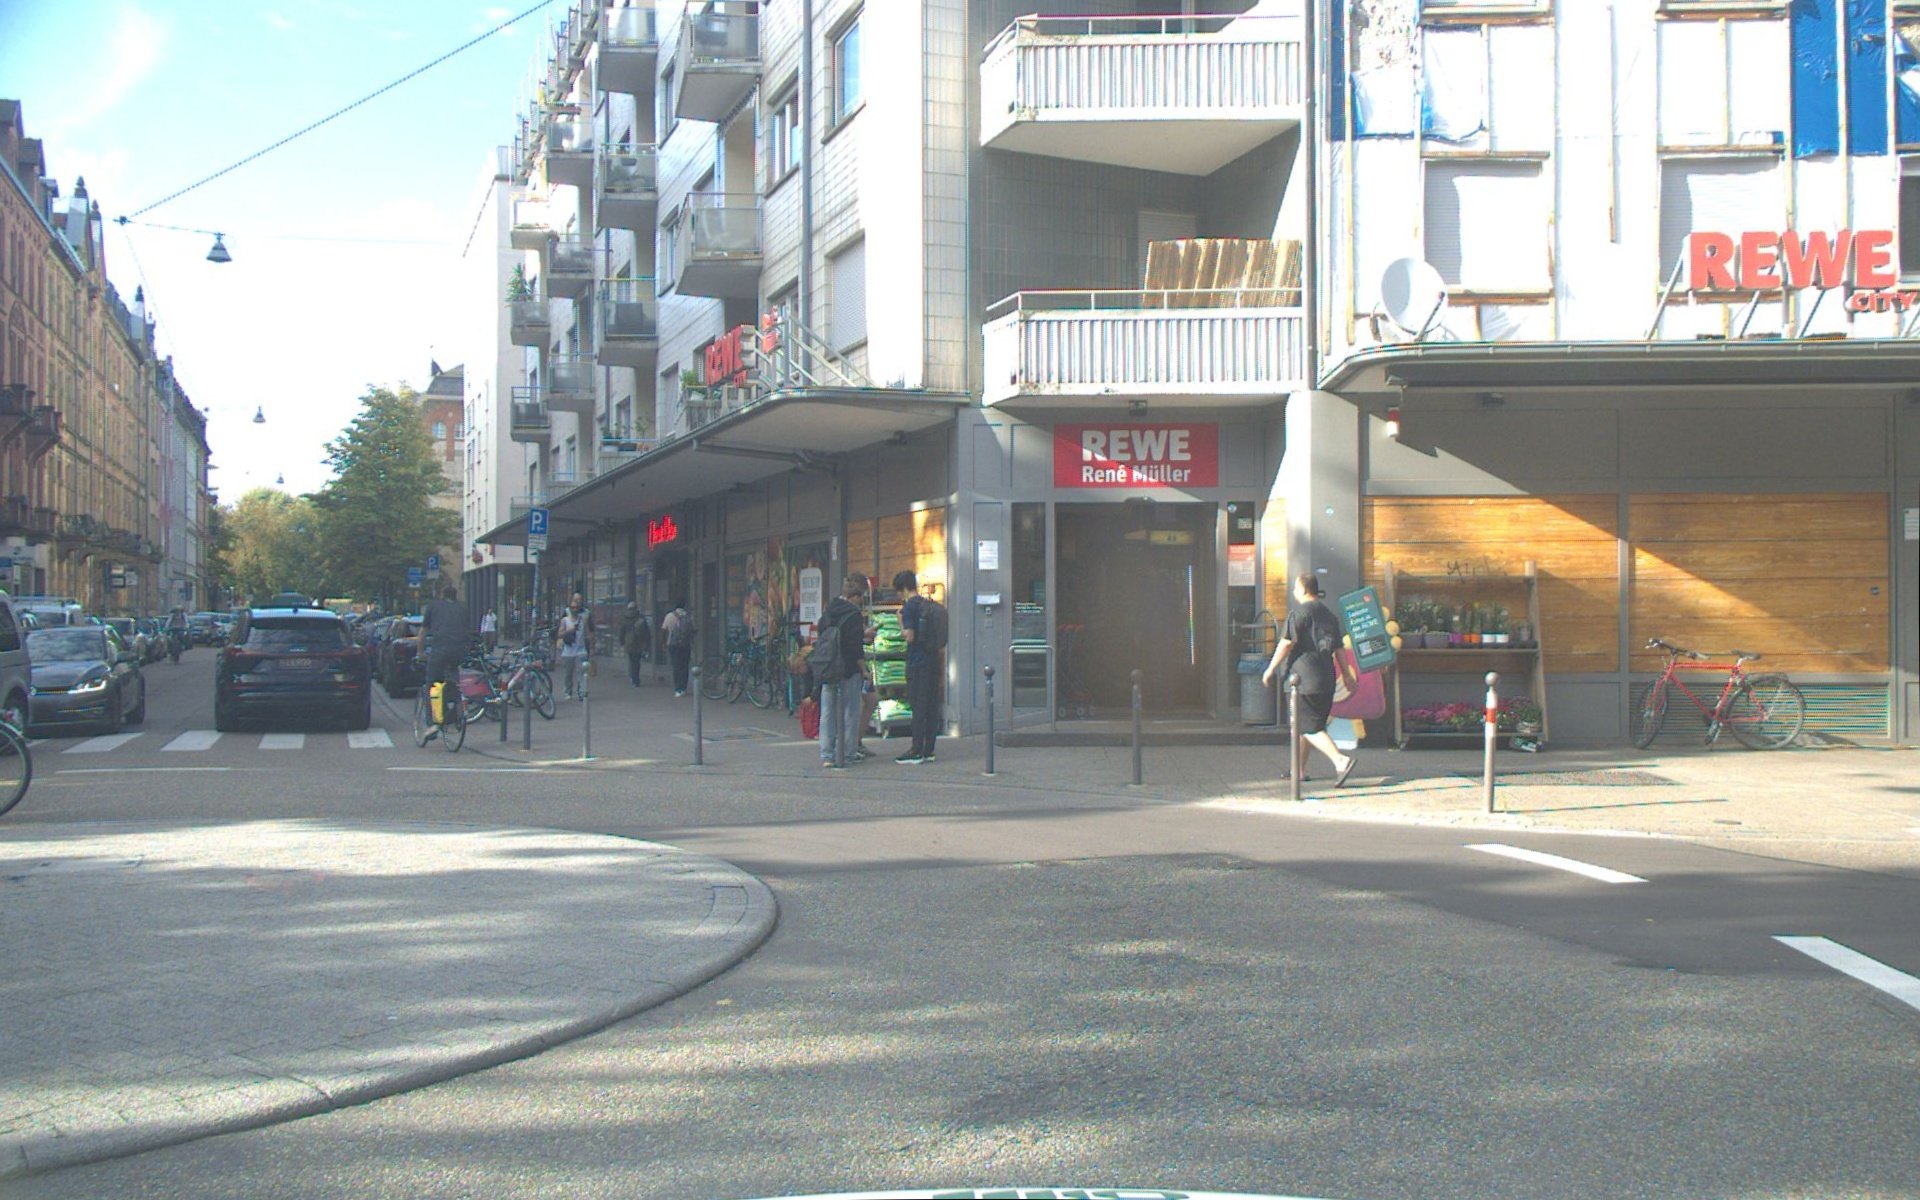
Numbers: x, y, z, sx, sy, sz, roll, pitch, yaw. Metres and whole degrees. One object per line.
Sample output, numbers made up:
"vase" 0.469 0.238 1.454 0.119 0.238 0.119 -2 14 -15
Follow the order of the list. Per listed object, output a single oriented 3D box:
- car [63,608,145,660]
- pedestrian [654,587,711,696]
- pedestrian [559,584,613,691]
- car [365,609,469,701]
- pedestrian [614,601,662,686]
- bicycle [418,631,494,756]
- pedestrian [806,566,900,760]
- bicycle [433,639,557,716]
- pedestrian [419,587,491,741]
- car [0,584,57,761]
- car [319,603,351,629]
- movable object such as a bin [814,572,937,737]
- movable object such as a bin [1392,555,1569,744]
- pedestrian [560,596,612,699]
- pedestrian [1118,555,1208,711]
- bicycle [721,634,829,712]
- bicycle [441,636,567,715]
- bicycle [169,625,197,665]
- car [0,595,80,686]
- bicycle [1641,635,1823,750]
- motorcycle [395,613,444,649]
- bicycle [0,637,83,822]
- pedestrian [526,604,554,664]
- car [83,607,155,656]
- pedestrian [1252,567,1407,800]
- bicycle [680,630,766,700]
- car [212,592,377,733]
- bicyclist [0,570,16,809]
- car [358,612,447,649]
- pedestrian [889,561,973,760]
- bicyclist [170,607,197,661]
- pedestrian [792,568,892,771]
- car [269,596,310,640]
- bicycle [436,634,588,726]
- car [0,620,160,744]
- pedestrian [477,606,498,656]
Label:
"car" -25.838 1.019 50.055 1.717 1.509 3.958 1 -1 -21
"pedestrian" -4.714 0.692 28.072 0.704 1.777 0.811 -3 1 -24
"pedestrian" -6.801 0.672 30.074 0.869 1.866 1.043 -2 0 -14
"car" -10.958 1.047 33.206 1.767 1.633 3.900 -3 1 -21
"pedestrian" -6.281 0.839 32.263 0.812 1.616 0.776 0 -1 -20
"bicycle" -5.743 1.026 18.786 0.707 1.296 1.872 -1 0 -20
"pedestrian" -1.042 0.608 16.182 0.697 1.828 0.633 -2 2 11
"bicycle" -7.332 1.208 26.109 1.771 1.089 0.580 -2 1 -32
"pedestrian" -5.747 0.705 18.785 0.708 1.679 0.924 -1 0 -21
"car" -10.648 0.771 16.143 1.795 1.822 4.322 -2 0 -9
"car" -40.990 1.044 108.502 1.903 1.667 3.975 1 -1 -21
"movable object such as a bin" -1.012 0.595 19.096 0.768 1.775 2.409 0 -1 -19
"movable object such as a bin" 5.046 0.462 16.104 1.512 1.785 0.691 0 1 0
"pedestrian" -6.362 0.802 28.080 0.789 1.700 1.018 -1 -2 -16
"pedestrian" 2.373 0.374 19.450 0.751 1.784 0.926 0 0 -16
"bicycle" -2.644 1.028 23.475 0.672 1.061 1.708 0 -2 -41
"bicycle" -7.038 1.150 25.538 1.771 1.089 0.563 -2 1 -32
"bicycle" -24.722 1.418 52.631 0.691 1.242 2.101 2 -1 -23
"car" -20.850 0.852 36.674 1.893 1.904 4.406 0 0 -22
"bicycle" 7.393 0.873 15.889 1.498 1.051 0.583 0 1 13
"motorcycle" -25.334 1.441 77.527 2.117 1.557 0.683 -2 1 -18
"bicycle" -7.053 0.899 11.123 1.943 1.220 0.688 -2 -2 -21
"pedestrian" -11.599 0.941 45.661 0.634 1.616 0.776 -2 0 -20
"car" -27.610 1.032 54.386 1.717 1.509 3.957 1 -1 -22
"pedestrian" 2.988 0.642 13.461 0.834 1.777 1.046 -2 1 -11
"bicycle" -3.780 1.013 26.296 0.733 1.033 1.765 -3 0 -29
"car" -9.170 0.840 22.942 1.937 1.771 4.015 0 -2 -21
"bicyclist" -7.063 0.615 11.137 1.108 1.615 0.689 0 -3 -21
"car" -26.735 1.475 79.350 3.724 1.573 1.712 -2 -1 -32
"pedestrian" -0.288 0.553 15.789 0.641 1.828 0.657 -3 2 -9
"bicyclist" -24.772 1.082 52.766 0.691 1.707 1.104 2 -1 -23
"pedestrian" -1.095 0.637 15.483 0.617 1.828 0.715 -2 2 19
"car" -32.502 0.885 80.142 1.757 2.055 3.861 1 -1 -22
"bicycle" -6.344 1.108 23.443 1.867 1.145 0.896 -3 1 -35
"car" -11.973 1.057 22.230 1.765 1.463 3.976 -2 -1 -20
"pedestrian" -16.633 1.081 58.240 0.603 1.756 1.120 -1 0 -20
